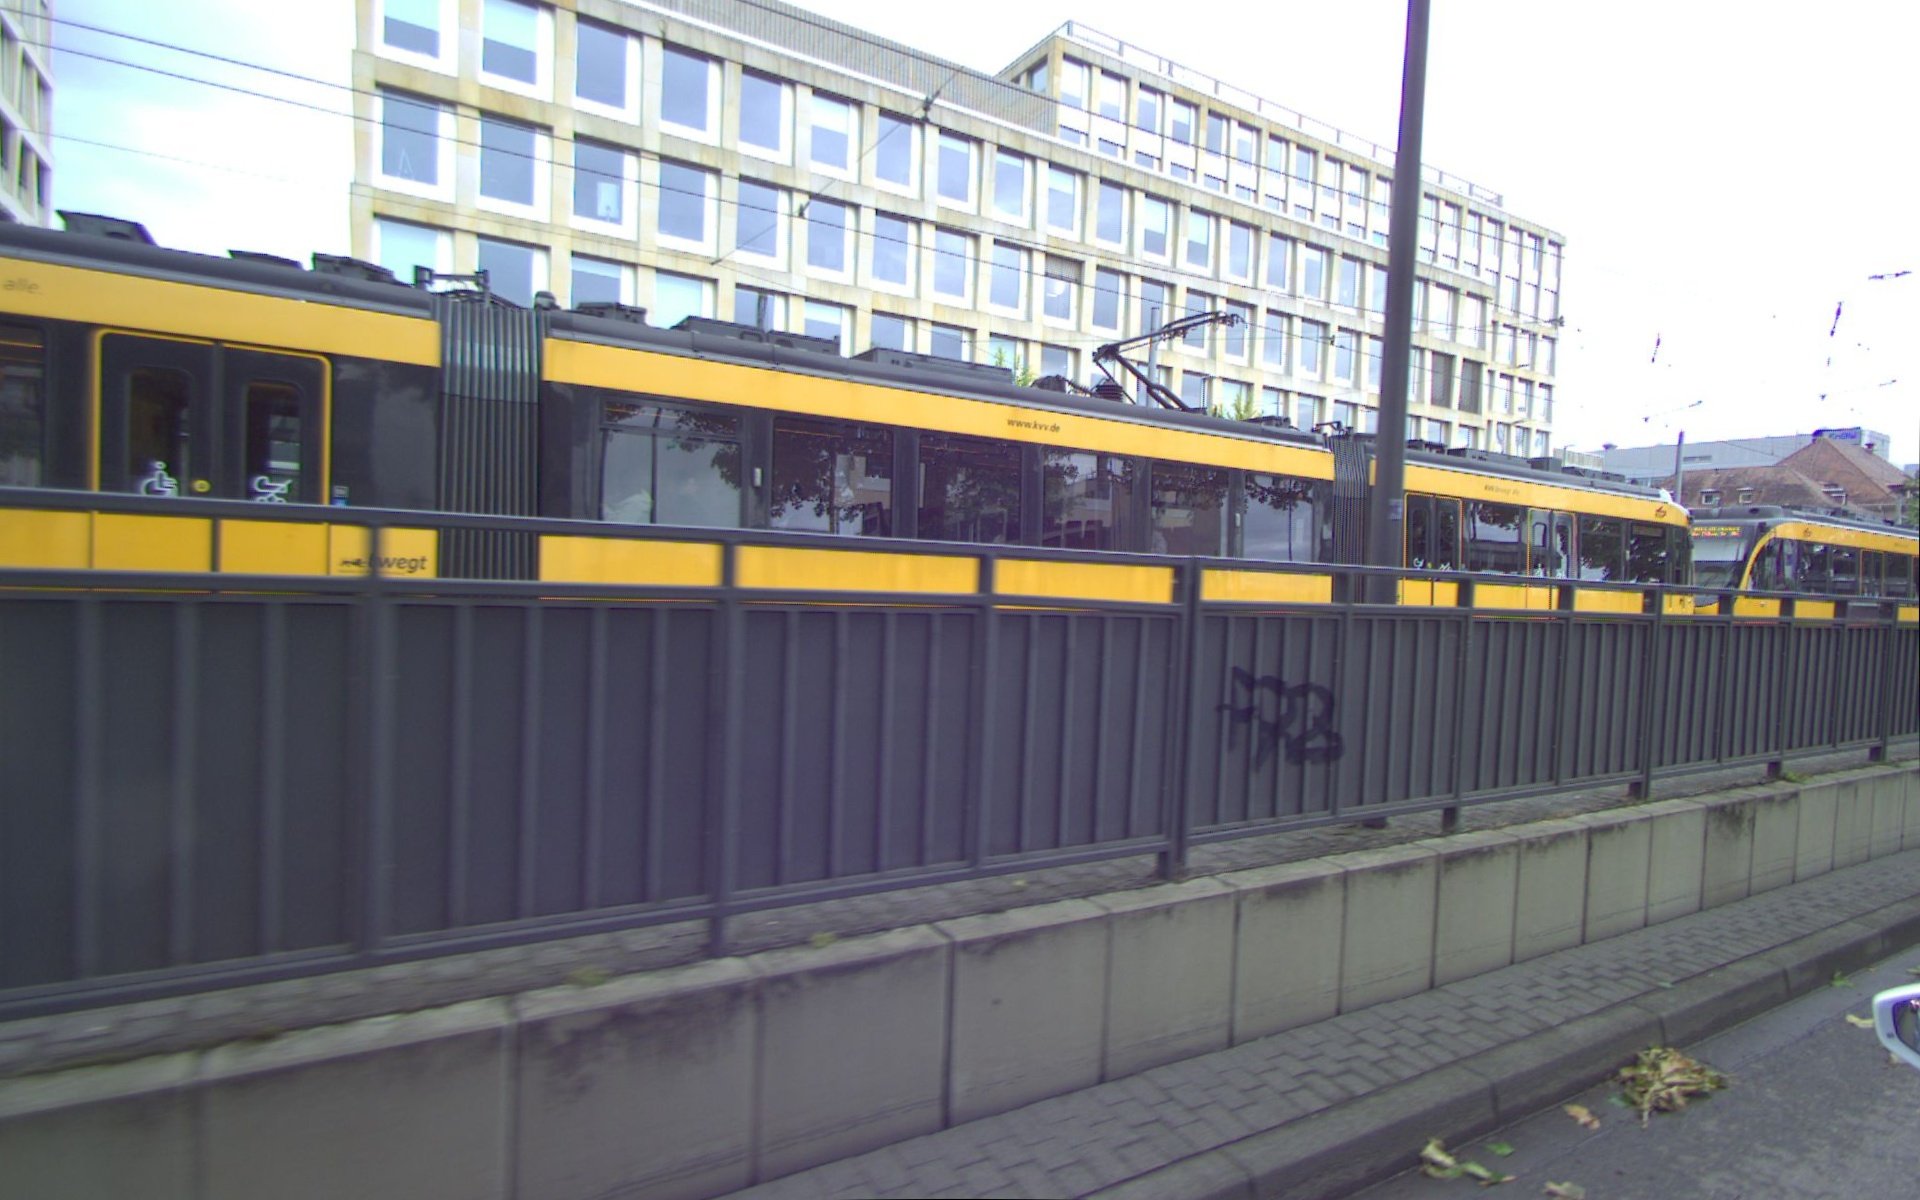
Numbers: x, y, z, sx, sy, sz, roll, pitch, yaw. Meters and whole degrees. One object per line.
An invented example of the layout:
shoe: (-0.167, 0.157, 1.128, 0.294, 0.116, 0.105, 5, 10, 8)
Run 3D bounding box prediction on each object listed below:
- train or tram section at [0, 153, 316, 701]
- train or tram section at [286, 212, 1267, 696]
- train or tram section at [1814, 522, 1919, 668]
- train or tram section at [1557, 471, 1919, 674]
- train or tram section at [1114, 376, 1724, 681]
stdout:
train or tram section: (-11.018, -1.410, 6.601, 11.181, 3.913, 3.221, 2, 1, -31)
train or tram section: (-1.411, -1.059, 12.398, 11.181, 3.913, 3.147, 2, 1, -31)
train or tram section: (33.663, 0.059, 33.577, 14.565, 4.235, 3.164, 2, 1, -31)
train or tram section: (21.225, -0.395, 26.062, 14.565, 4.235, 3.164, 2, 1, -31)
train or tram section: (9.210, -0.833, 18.804, 13.464, 4.235, 3.164, 2, 1, -31)
